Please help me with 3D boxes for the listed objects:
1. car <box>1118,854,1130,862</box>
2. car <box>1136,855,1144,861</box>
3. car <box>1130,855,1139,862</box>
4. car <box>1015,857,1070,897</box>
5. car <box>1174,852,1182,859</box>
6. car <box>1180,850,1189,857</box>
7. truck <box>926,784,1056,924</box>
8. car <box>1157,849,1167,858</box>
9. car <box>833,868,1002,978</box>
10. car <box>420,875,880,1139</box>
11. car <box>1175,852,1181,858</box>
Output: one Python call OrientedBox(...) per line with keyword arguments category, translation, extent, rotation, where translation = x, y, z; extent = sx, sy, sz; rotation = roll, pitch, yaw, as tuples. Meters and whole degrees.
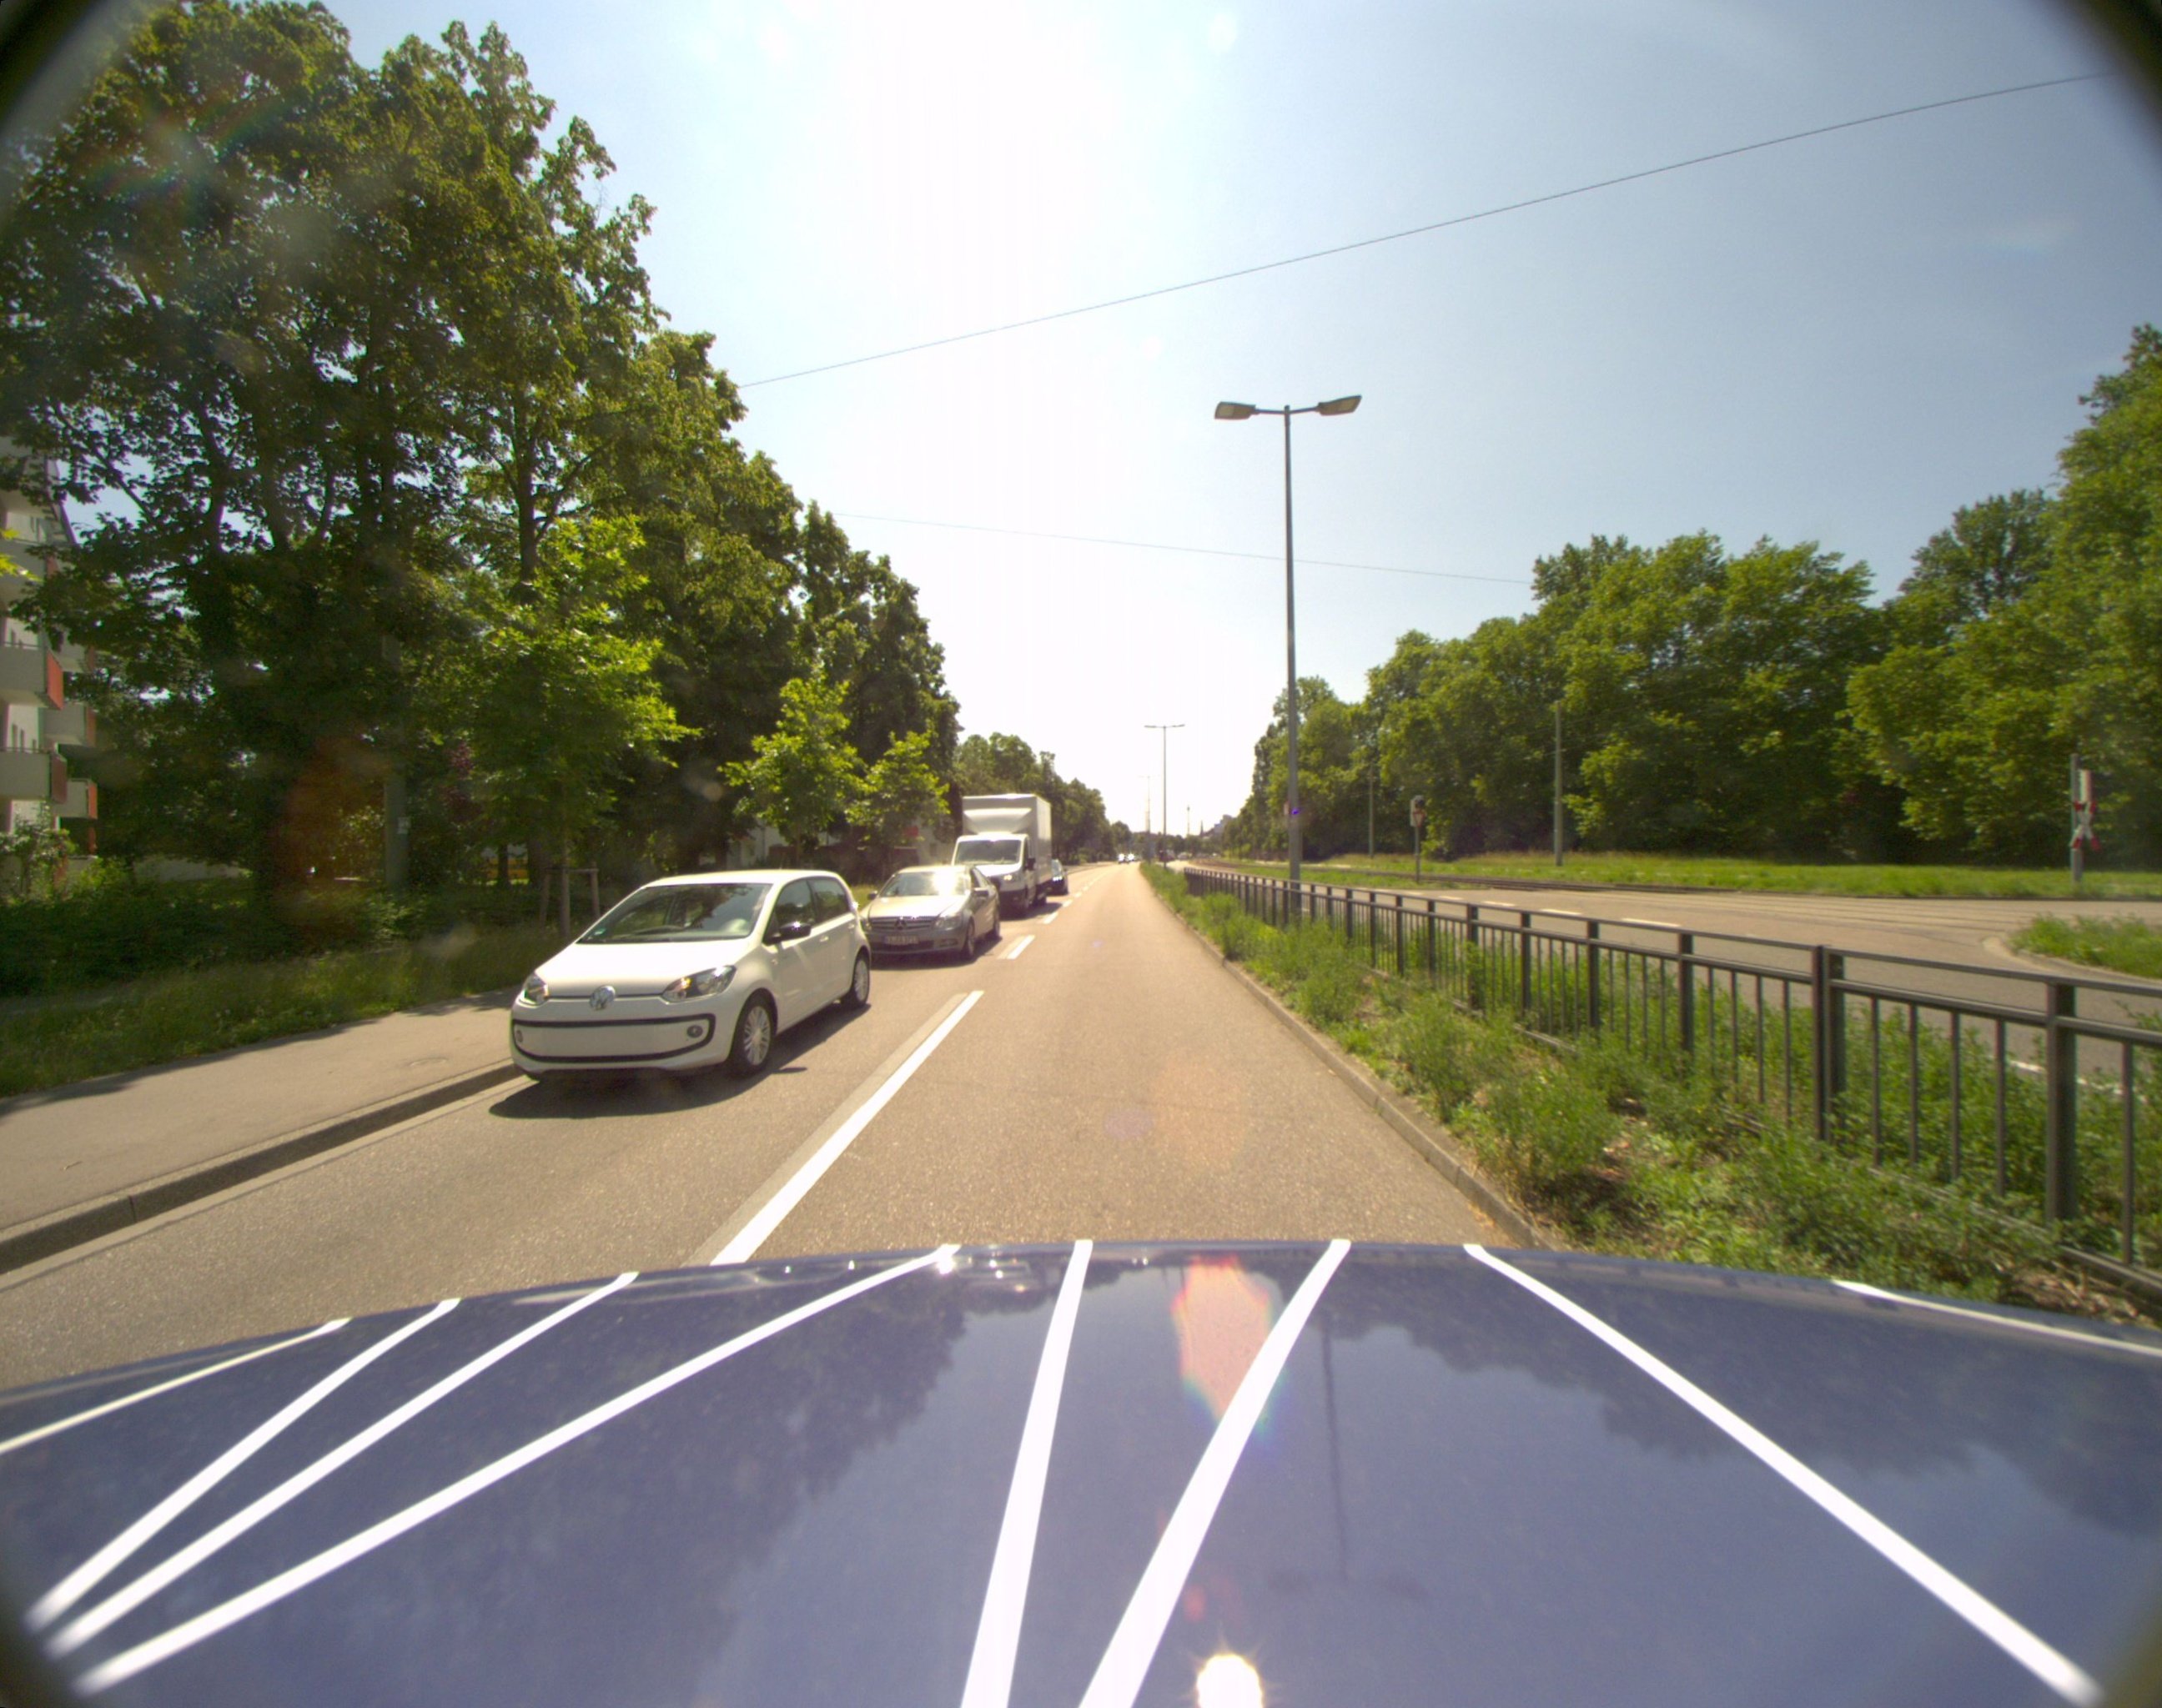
OrientedBox(category="car", translation=(7.837, 0.748, 138.883), extent=(1.997, 1.499, 4.002), rotation=(-1, 0, 7))
OrientedBox(category="car", translation=(15.752, 0.994, 202.516), extent=(1.997, 1.499, 4.002), rotation=(-1, 0, 7))
OrientedBox(category="car", translation=(12.429, 0.955, 177.046), extent=(1.997, 1.499, 4.002), rotation=(-1, 0, 7))
OrientedBox(category="car", translation=(-1.513, 0.915, 31.512), extent=(1.998, 1.499, 4.000), rotation=(-1, 0, 1))
OrientedBox(category="car", translation=(26.553, 0.321, 207.240), extent=(1.998, 1.847, 4.001), rotation=(-1, 0, 5))
OrientedBox(category="car", translation=(27.336, -0.175, 200.865), extent=(1.998, 1.847, 4.001), rotation=(-1, 0, 5))
OrientedBox(category="truck", translation=(-2.298, -0.007, 22.279), extent=(2.433, 3.326, 7.923), rotation=(-1, 0, 3))
OrientedBox(category="car", translation=(16.379, -0.072, 153.782), extent=(1.997, 1.847, 4.002), rotation=(-1, 0, 7))
OrientedBox(category="car", translation=(-2.473, 0.986, 12.540), extent=(1.840, 1.400, 4.087), rotation=(-1, 0, 1))
OrientedBox(category="car", translation=(-3.124, 0.988, 6.519), extent=(1.730, 1.470, 3.771), rotation=(-1, 0, 1))
OrientedBox(category="car", translation=(31.675, 0.415, 248.548), extent=(1.997, 1.847, 4.002), rotation=(-1, 0, 7))
